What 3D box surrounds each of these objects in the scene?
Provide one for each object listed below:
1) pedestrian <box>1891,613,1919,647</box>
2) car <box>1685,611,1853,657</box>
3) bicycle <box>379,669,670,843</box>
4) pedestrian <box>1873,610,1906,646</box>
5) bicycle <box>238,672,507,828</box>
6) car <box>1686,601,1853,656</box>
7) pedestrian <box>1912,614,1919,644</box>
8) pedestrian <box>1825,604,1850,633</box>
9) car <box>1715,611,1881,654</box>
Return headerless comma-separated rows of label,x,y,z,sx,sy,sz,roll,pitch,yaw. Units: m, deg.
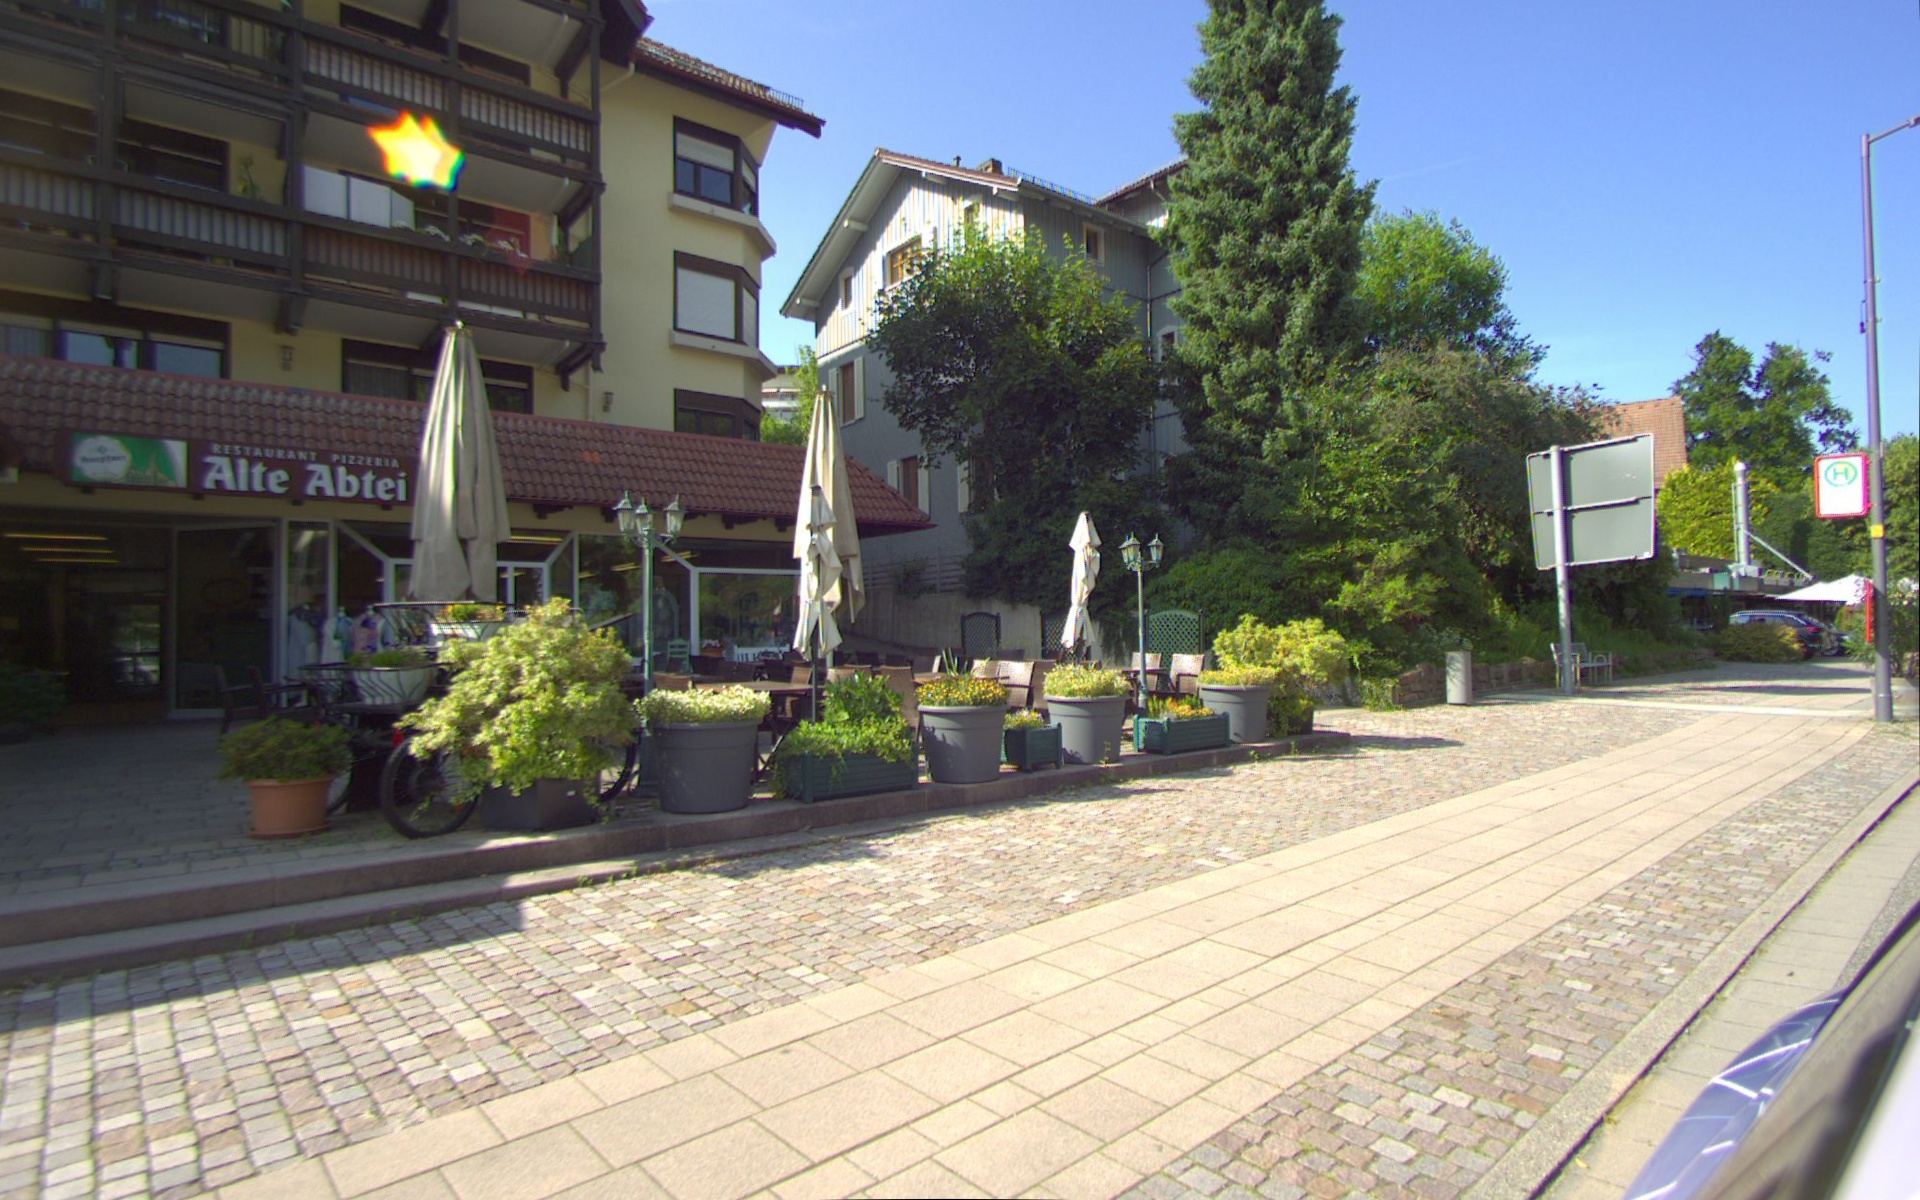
pedestrian,36.656,1.149,39.231,0.809,1.277,0.689,-2,-2,43
car,27.258,1.126,34.205,1.716,1.433,4.119,0,-1,-37
bicycle,-2.611,0.897,6.156,1.585,0.875,0.397,0,-2,-34
pedestrian,37.243,1.119,40.550,0.692,1.399,0.806,-1,-2,21
bicycle,-3.878,0.949,6.820,0.394,0.853,1.599,-3,-3,29
car,25.471,0.894,31.927,1.718,1.600,3.879,1,-2,-42
pedestrian,40.473,1.208,42.257,0.686,1.277,0.814,0,-2,-20
pedestrian,39.862,0.846,45.984,0.629,1.321,0.577,0,-1,15
car,29.688,1.148,35.981,1.678,1.396,4.272,0,-1,-37
